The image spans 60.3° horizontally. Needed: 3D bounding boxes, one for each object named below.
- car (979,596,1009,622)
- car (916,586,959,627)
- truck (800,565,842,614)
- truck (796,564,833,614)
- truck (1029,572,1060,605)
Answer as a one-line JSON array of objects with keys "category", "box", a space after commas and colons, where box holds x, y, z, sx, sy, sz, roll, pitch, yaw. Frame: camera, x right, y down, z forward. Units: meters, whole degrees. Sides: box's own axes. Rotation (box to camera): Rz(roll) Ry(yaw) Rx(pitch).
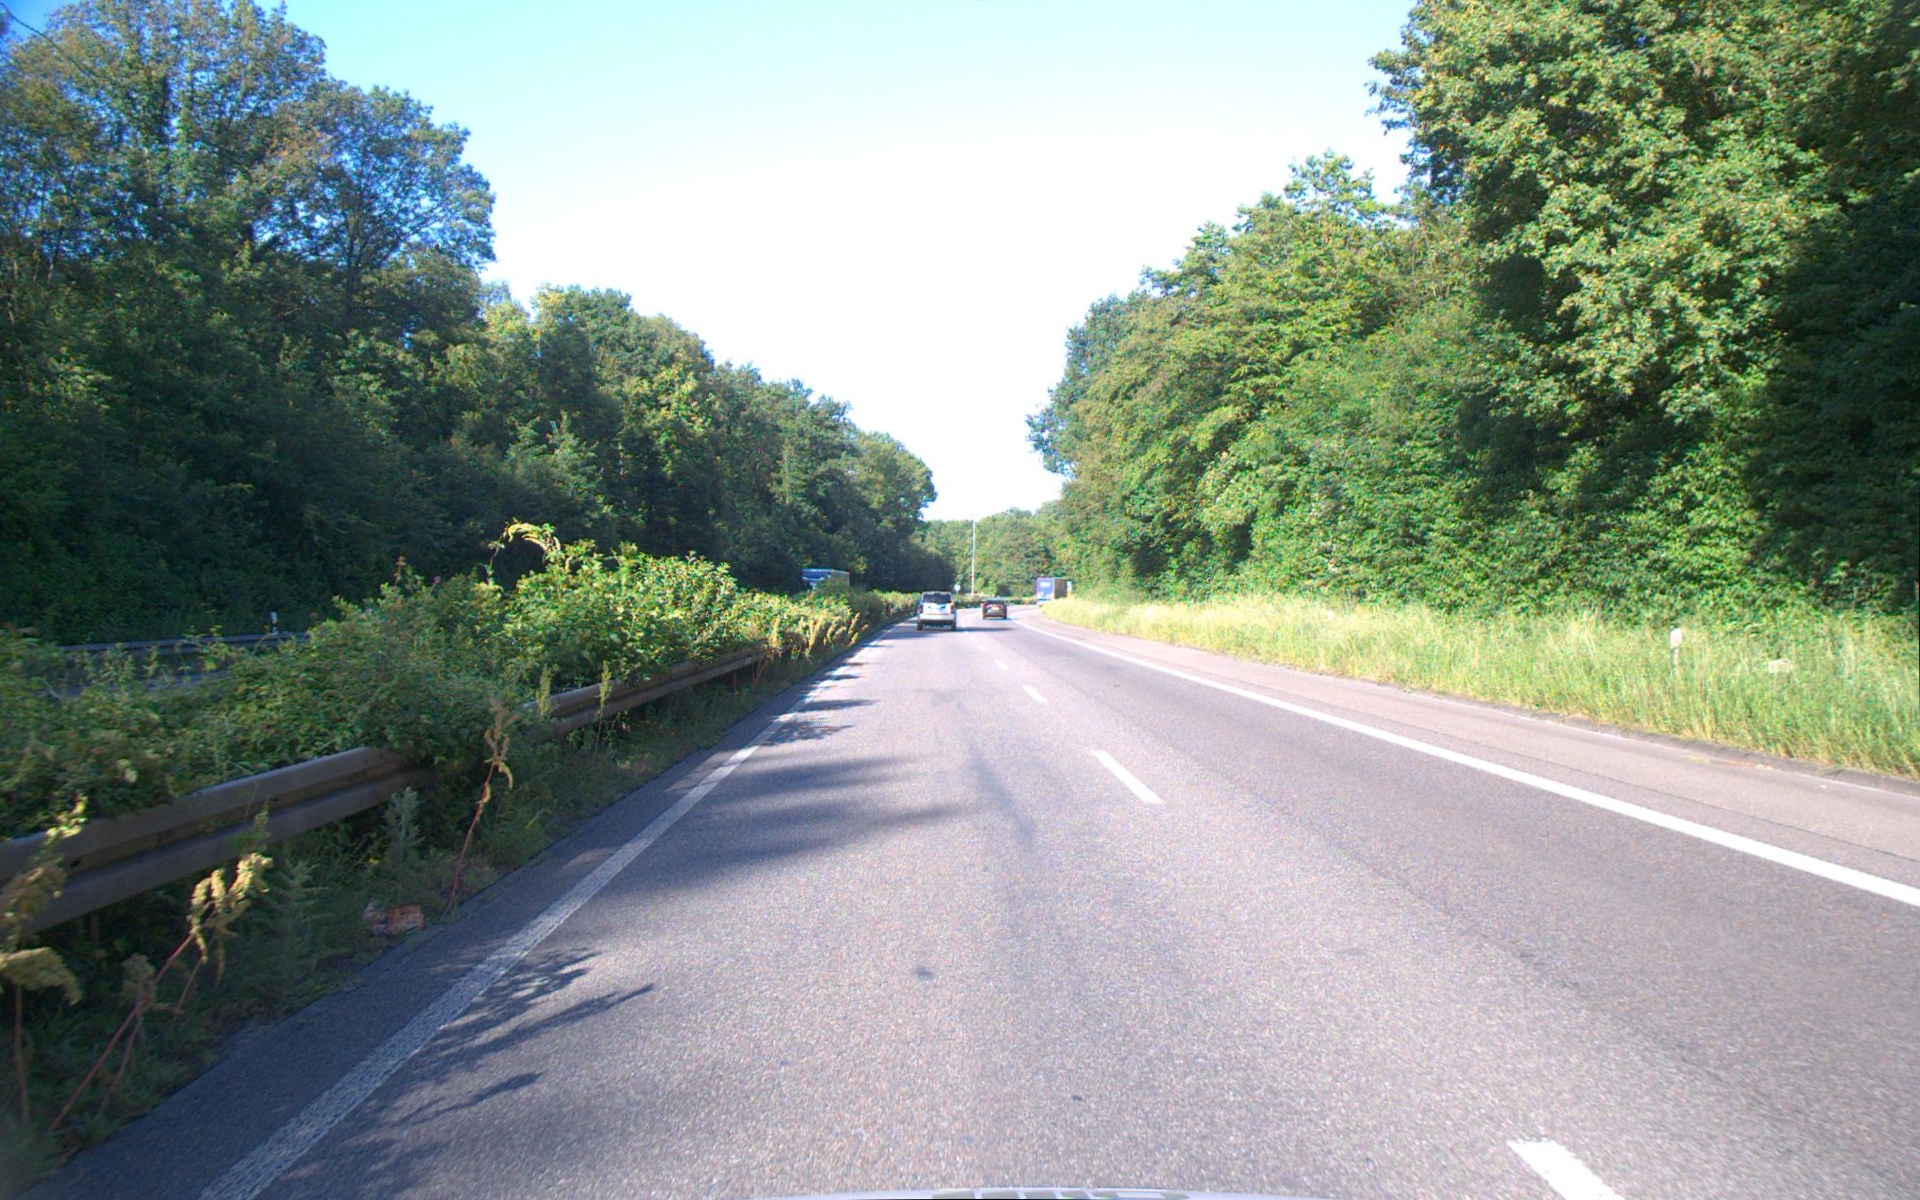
[{"category": "car", "box": [2.419, 0.650, 119.312, 1.912, 1.813, 4.586, 1, 0, -2]}, {"category": "car", "box": [-1.082, 0.315, 77.383, 1.912, 1.813, 4.586, 1, 0, -2]}, {"category": "truck", "box": [-12.538, -0.843, 149.939, 2.652, 4.168, 14.019, 1, 0, 0]}, {"category": "truck", "box": [-12.516, -0.894, 142.785, 2.660, 4.168, 5.436, 1, -1, 0]}, {"category": "truck", "box": [11.911, -1.516, 232.250, 3.655, 4.419, 9.311, 1, 0, 7]}]
